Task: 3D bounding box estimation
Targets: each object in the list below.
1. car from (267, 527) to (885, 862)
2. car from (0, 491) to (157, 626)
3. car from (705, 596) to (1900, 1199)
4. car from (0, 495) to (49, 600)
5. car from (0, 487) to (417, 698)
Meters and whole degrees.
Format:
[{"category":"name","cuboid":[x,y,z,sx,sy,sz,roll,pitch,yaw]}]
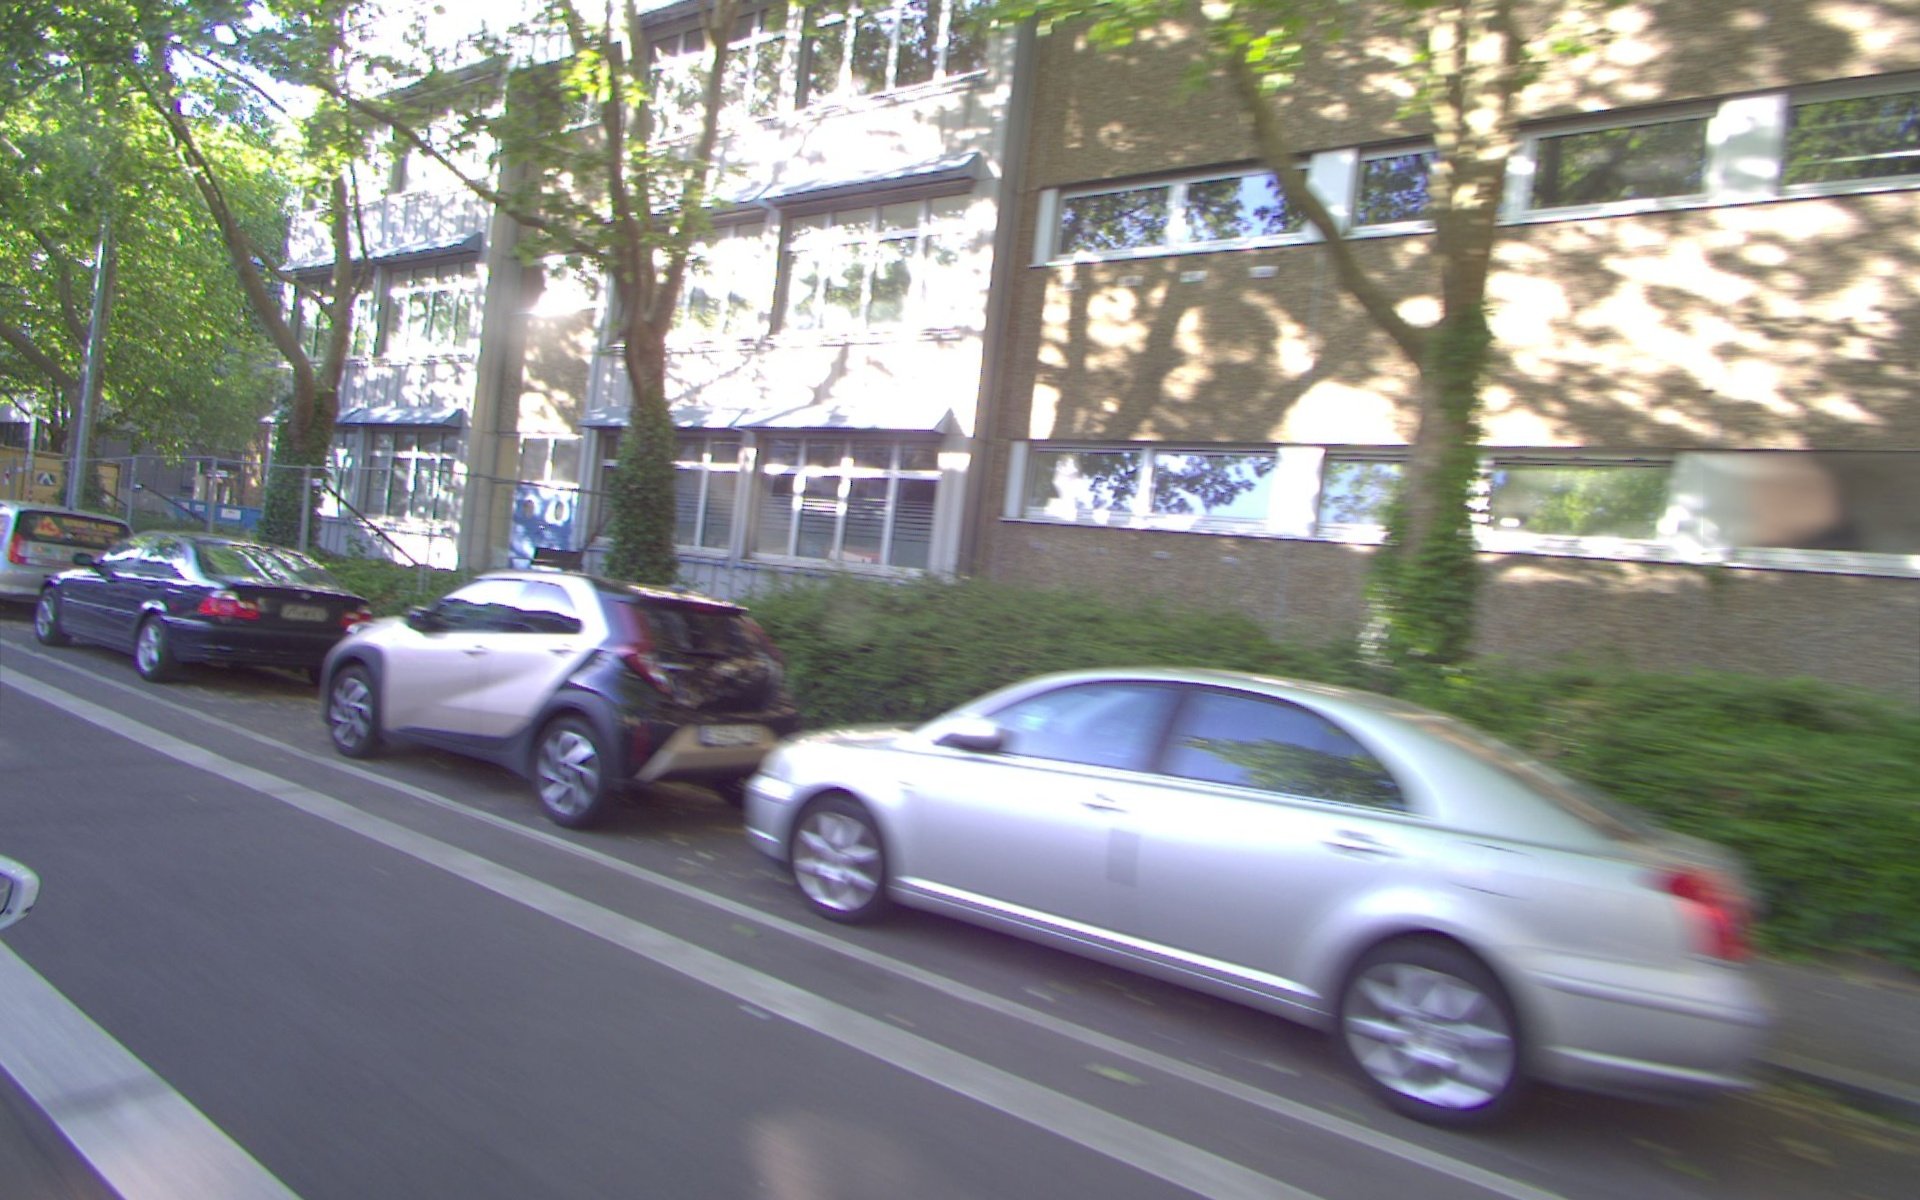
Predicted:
[{"category":"car","cuboid":[-2.882,0.520,7.314,4.225,1.540,1.859,7,-1,31]},{"category":"car","cuboid":[-12.756,-0.669,13.708,3.434,1.492,1.617,7,-2,31]},{"category":"car","cuboid":[1.149,1.018,4.862,4.525,1.453,1.859,7,-1,31]},{"category":"car","cuboid":[-16.475,-1.082,15.868,3.861,1.527,1.861,7,-2,29]},{"category":"car","cuboid":[-7.953,-0.118,10.494,4.522,1.540,1.859,7,-2,31]}]
